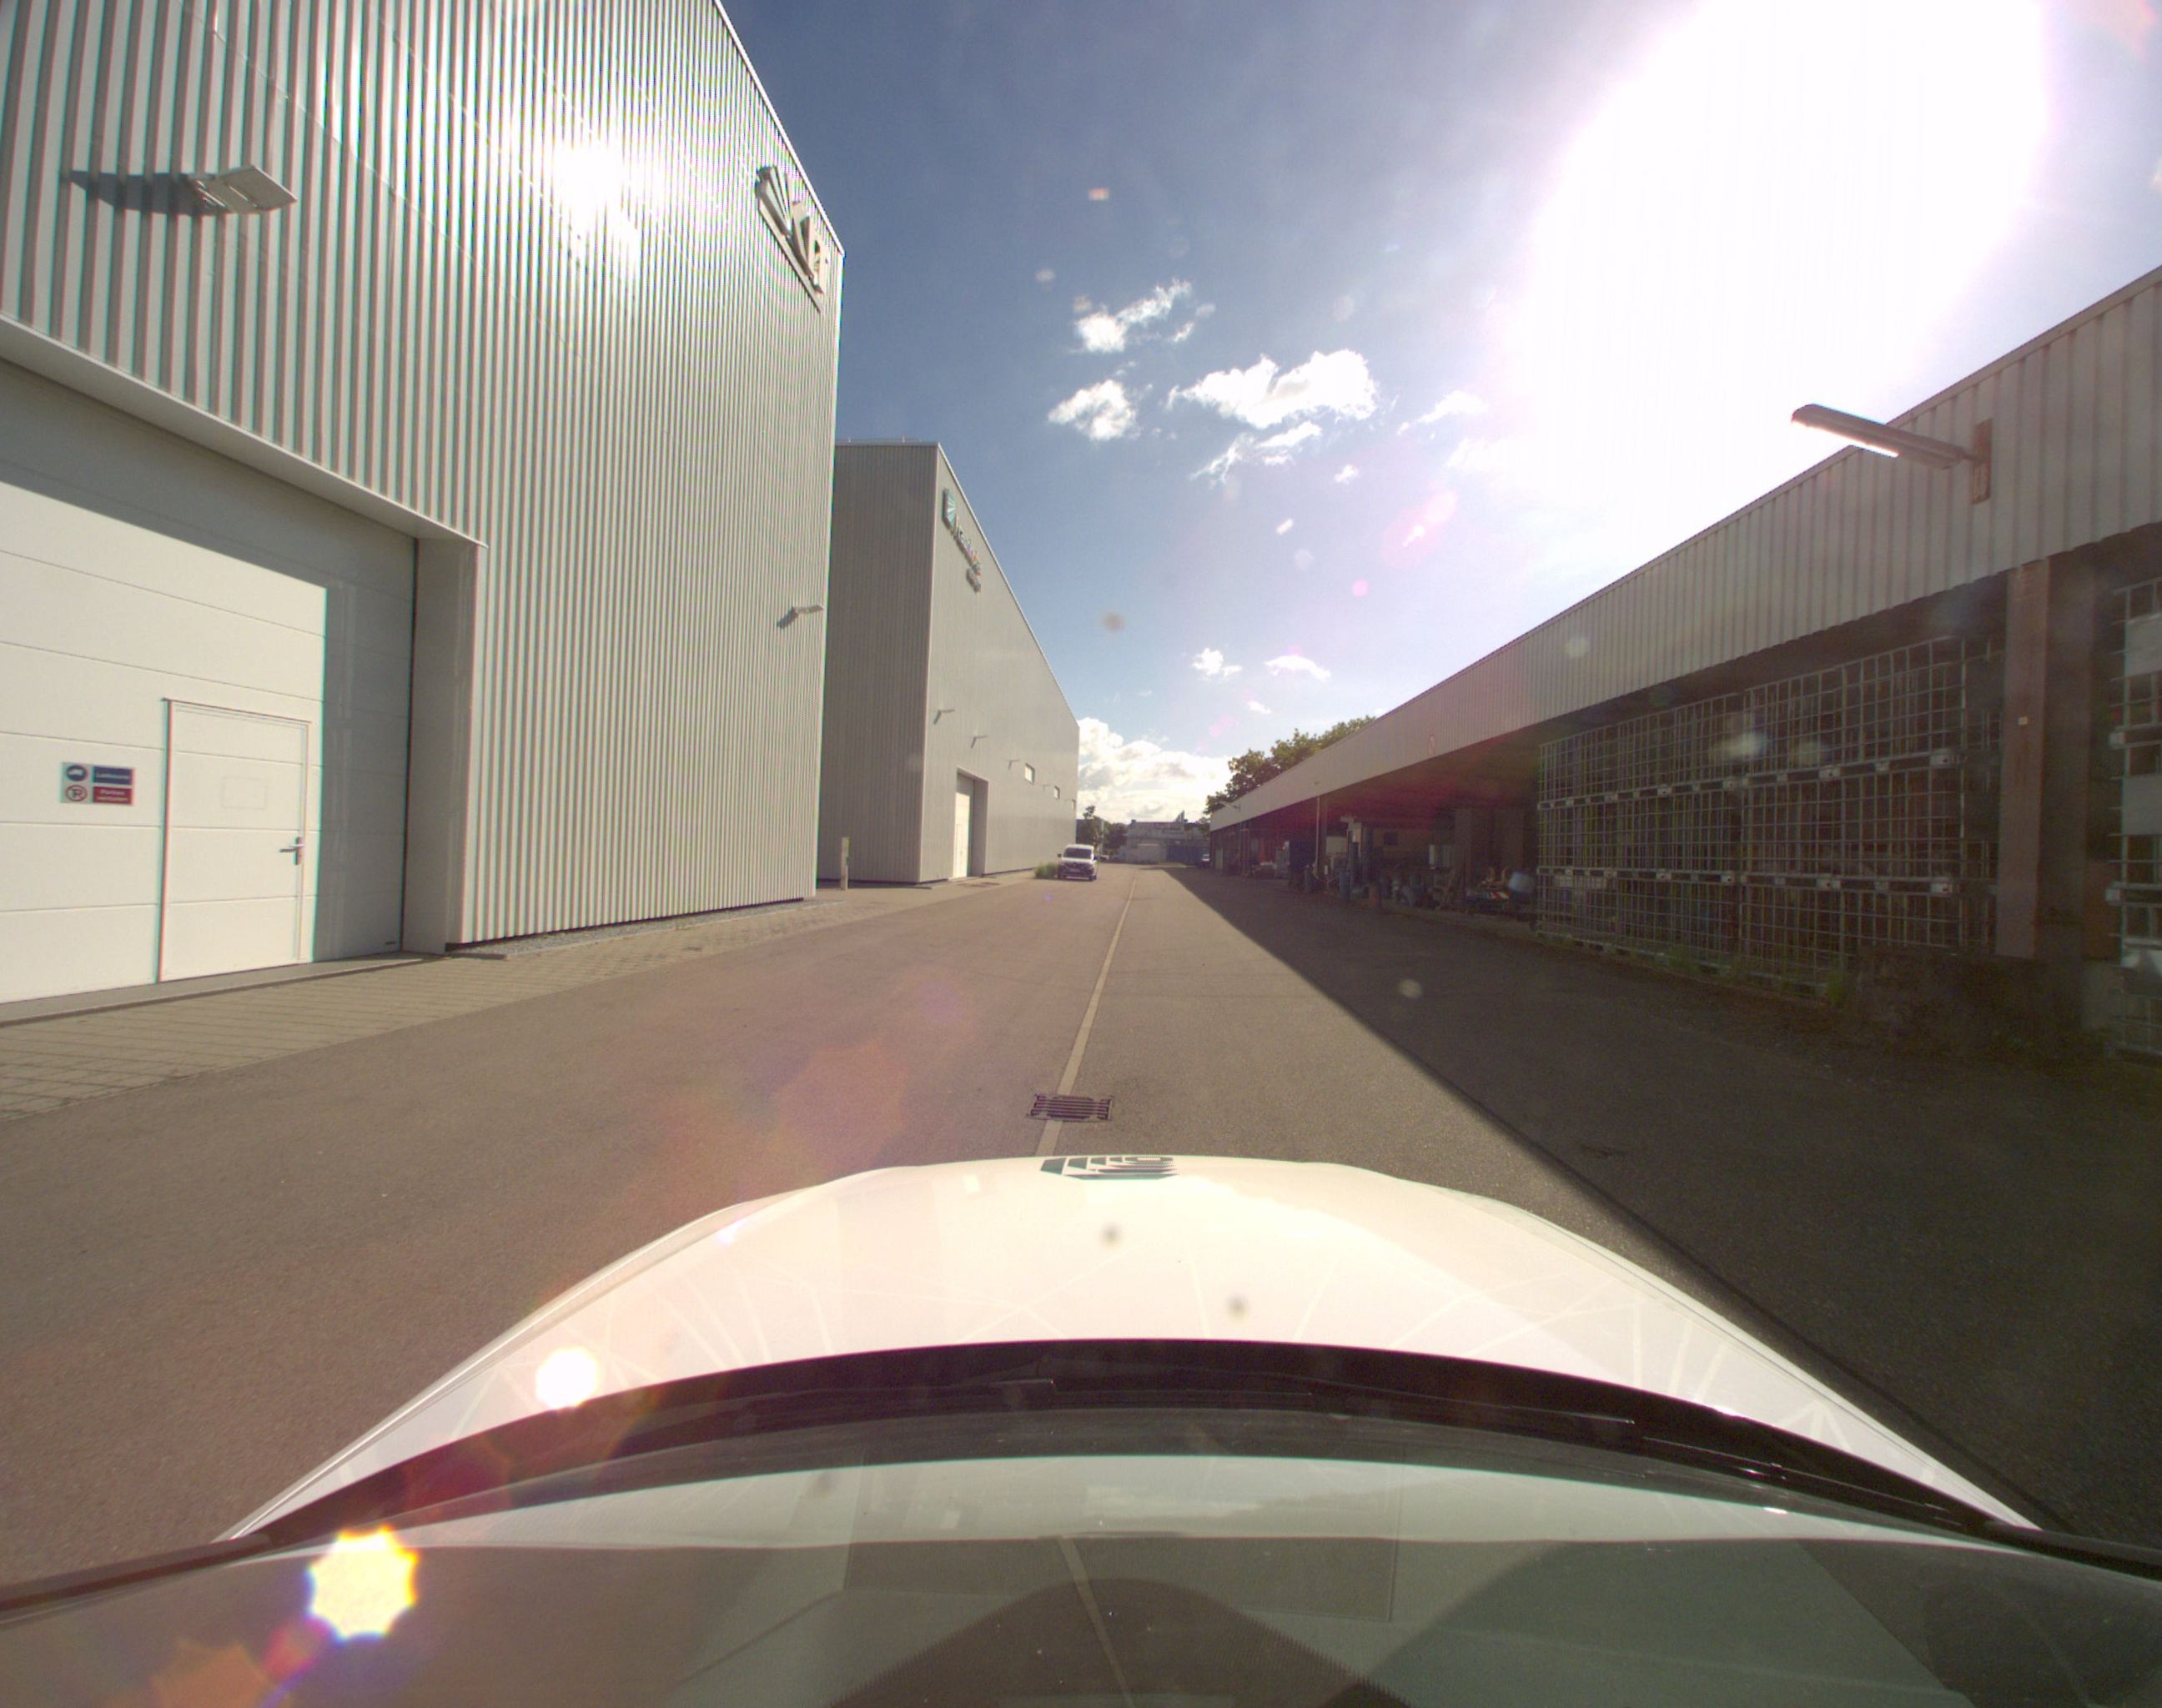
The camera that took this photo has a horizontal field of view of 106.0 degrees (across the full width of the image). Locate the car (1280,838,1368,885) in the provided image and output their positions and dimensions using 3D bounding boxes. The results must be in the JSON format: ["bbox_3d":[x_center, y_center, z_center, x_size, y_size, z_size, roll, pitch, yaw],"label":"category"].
[{"bbox_3d":[13.706,0.443,46.100,4.412,2.310,1.918,3,-2,5],"label":"car"}]

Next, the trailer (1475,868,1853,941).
[{"bbox_3d":[11.123,0.939,15.915,5.825,1.133,2.143,1,0,2],"label":"trailer"}]

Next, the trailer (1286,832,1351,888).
[{"bbox_3d":[10.883,0.279,37.470,2.511,2.399,1.729,2,-1,5],"label":"trailer"}]

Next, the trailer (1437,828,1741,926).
[{"bbox_3d":[11.680,0.498,19.099,5.738,2.032,2.081,1,0,5],"label":"trailer"}]

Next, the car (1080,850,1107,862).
[{"bbox_3d":[1.862,0.341,124.012,3.971,1.598,1.743,3,-2,3],"label":"car"}]

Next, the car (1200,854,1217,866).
[{"bbox_3d":[17.312,0.811,110.548,1.952,1.564,4.066,3,1,6],"label":"car"}]

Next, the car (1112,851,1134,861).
[{"bbox_3d":[7.773,0.367,151.600,3.971,1.598,1.849,3,-2,3],"label":"car"}]

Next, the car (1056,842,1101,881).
[{"bbox_3d":[-0.070,0.349,41.652,1.810,1.787,4.411,3,1,5],"label":"car"}]
